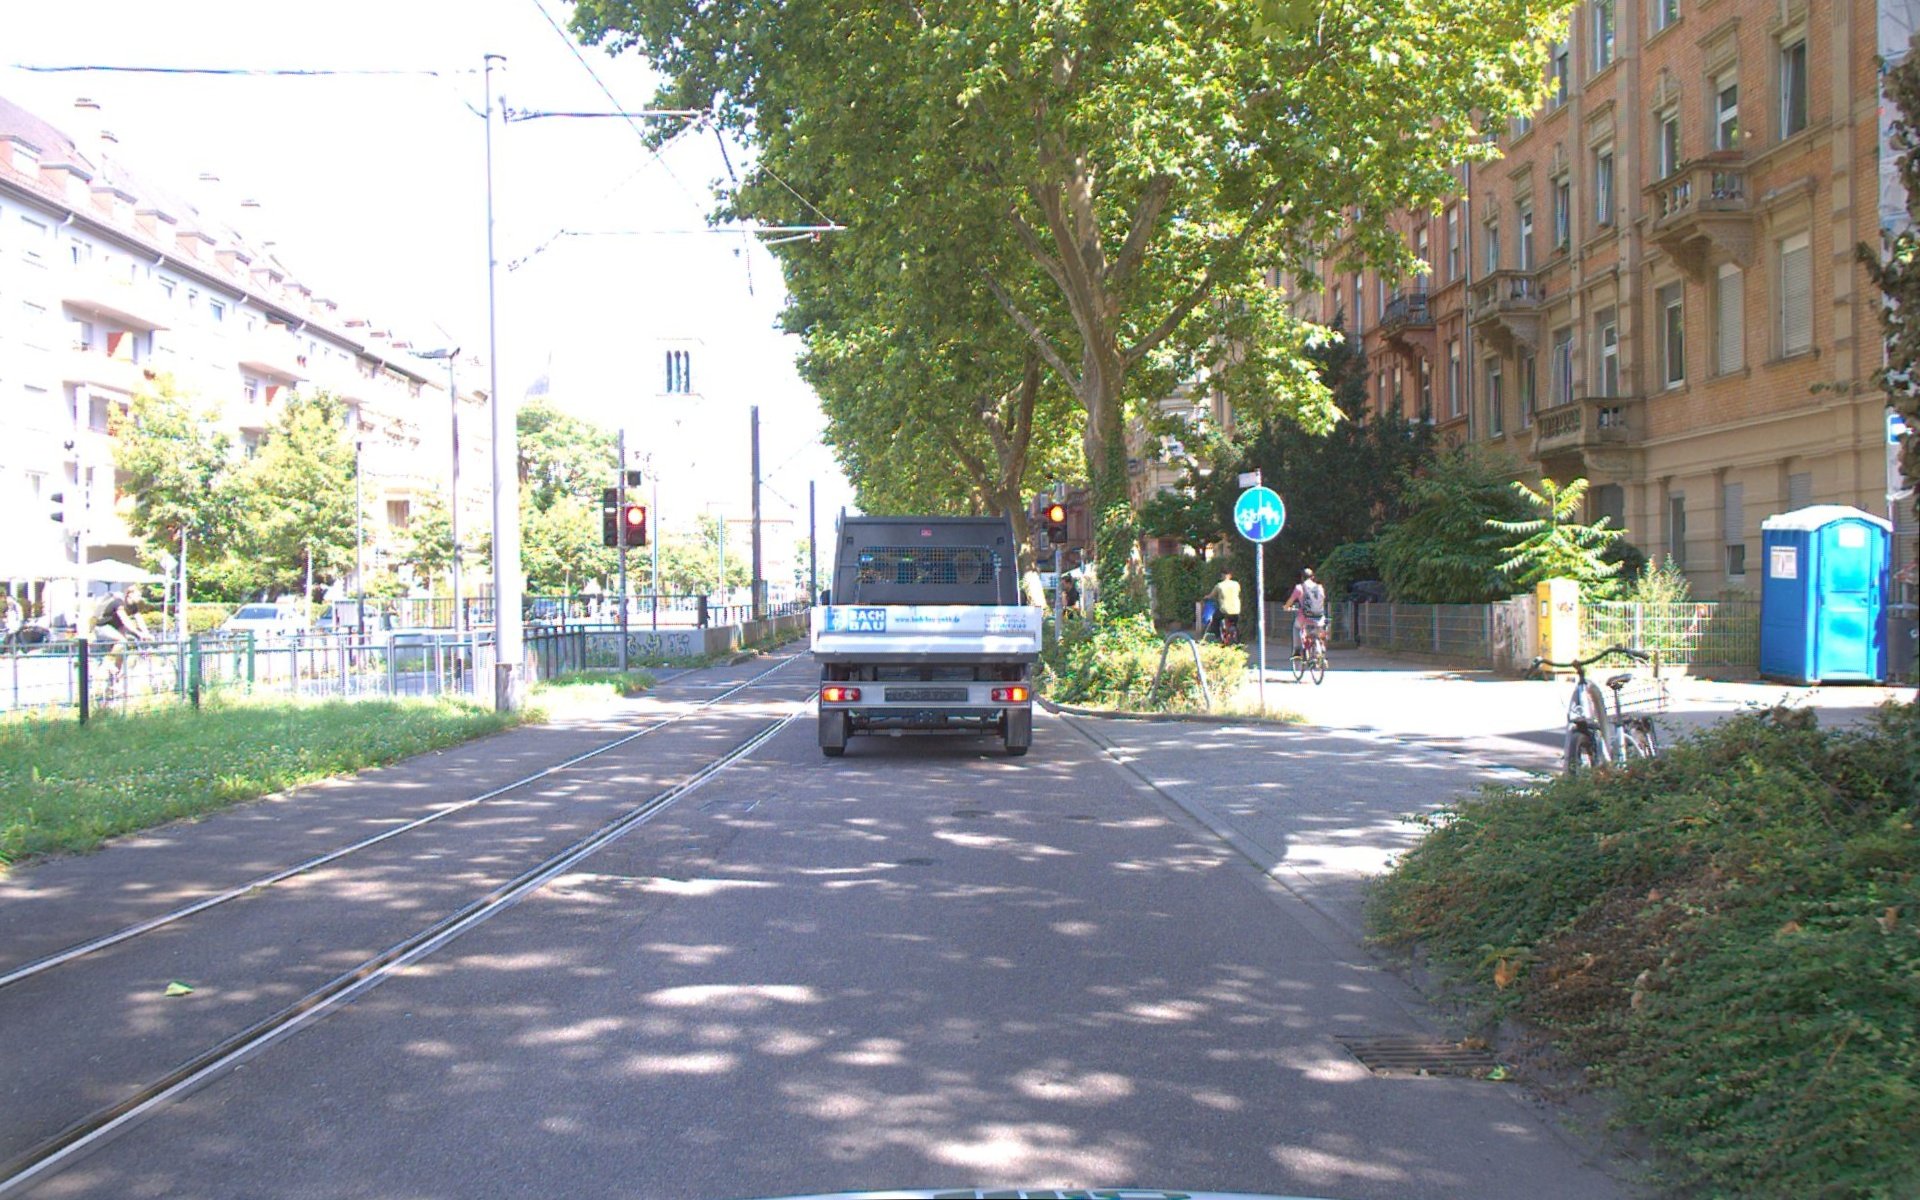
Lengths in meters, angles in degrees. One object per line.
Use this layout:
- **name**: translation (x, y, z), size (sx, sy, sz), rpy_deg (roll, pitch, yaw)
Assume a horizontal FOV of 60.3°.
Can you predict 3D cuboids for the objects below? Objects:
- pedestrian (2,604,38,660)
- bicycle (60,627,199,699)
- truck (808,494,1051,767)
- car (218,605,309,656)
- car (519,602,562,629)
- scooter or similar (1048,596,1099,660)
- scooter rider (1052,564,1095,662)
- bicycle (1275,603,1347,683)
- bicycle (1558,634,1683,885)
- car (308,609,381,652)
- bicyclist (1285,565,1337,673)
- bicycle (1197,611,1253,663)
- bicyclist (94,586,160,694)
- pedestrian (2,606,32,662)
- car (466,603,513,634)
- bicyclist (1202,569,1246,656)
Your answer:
- **pedestrian**: translation (-27.537, 0.935, 48.458), size (0.847, 1.600, 0.684), rpy_deg (-1, 0, -26)
- **bicycle**: translation (-12.909, 0.975, 25.739), size (1.880, 1.067, 0.533), rpy_deg (-1, 0, 0)
- **truck**: translation (-0.375, 0.262, 16.662), size (2.096, 2.359, 4.399), rpy_deg (1, 0, -3)
- **car**: translation (-23.231, 0.990, 55.306), size (1.737, 1.524, 3.993), rpy_deg (-3, 0, -8)
- **car**: translation (-25.075, 0.933, 98.903), size (1.735, 1.524, 3.997), rpy_deg (-1, 0, -3)
- **scooter or similar**: translation (2.236, 0.545, 32.543), size (0.642, 1.225, 1.271), rpy_deg (-1, 0, 21)
- **scooter rider**: translation (2.231, 0.254, 32.543), size (0.648, 1.899, 0.669), rpy_deg (-1, 0, 20)
- **bicycle**: translation (5.291, 0.618, 25.065), size (0.554, 1.131, 2.310), rpy_deg (-1, 0, -1)
- **bicycle**: translation (3.432, 0.762, 8.539), size (0.413, 1.125, 1.614), rpy_deg (-1, 0, 28)
- **car**: translation (-23.697, 1.155, 63.798), size (1.737, 1.524, 3.993), rpy_deg (-3, 0, -8)
- **bicyclist**: translation (5.285, 0.282, 24.894), size (0.625, 1.601, 0.579), rpy_deg (-1, 0, -1)
- **bicycle**: translation (4.975, 0.680, 31.144), size (0.661, 0.897, 2.163), rpy_deg (-1, 0, -1)
- **bicyclist**: translation (-12.963, 0.619, 25.745), size (0.678, 1.651, 0.624), rpy_deg (-1, 0, 1)
- **pedestrian**: translation (-27.294, 0.983, 47.882), size (0.679, 1.600, 0.542), rpy_deg (-1, 0, -26)
- **car**: translation (-24.330, 0.941, 85.562), size (1.737, 1.524, 3.993), rpy_deg (-1, 0, -8)
- **bicyclist**: translation (4.964, 0.229, 31.095), size (0.667, 1.591, 0.777), rpy_deg (-1, 0, -1)
